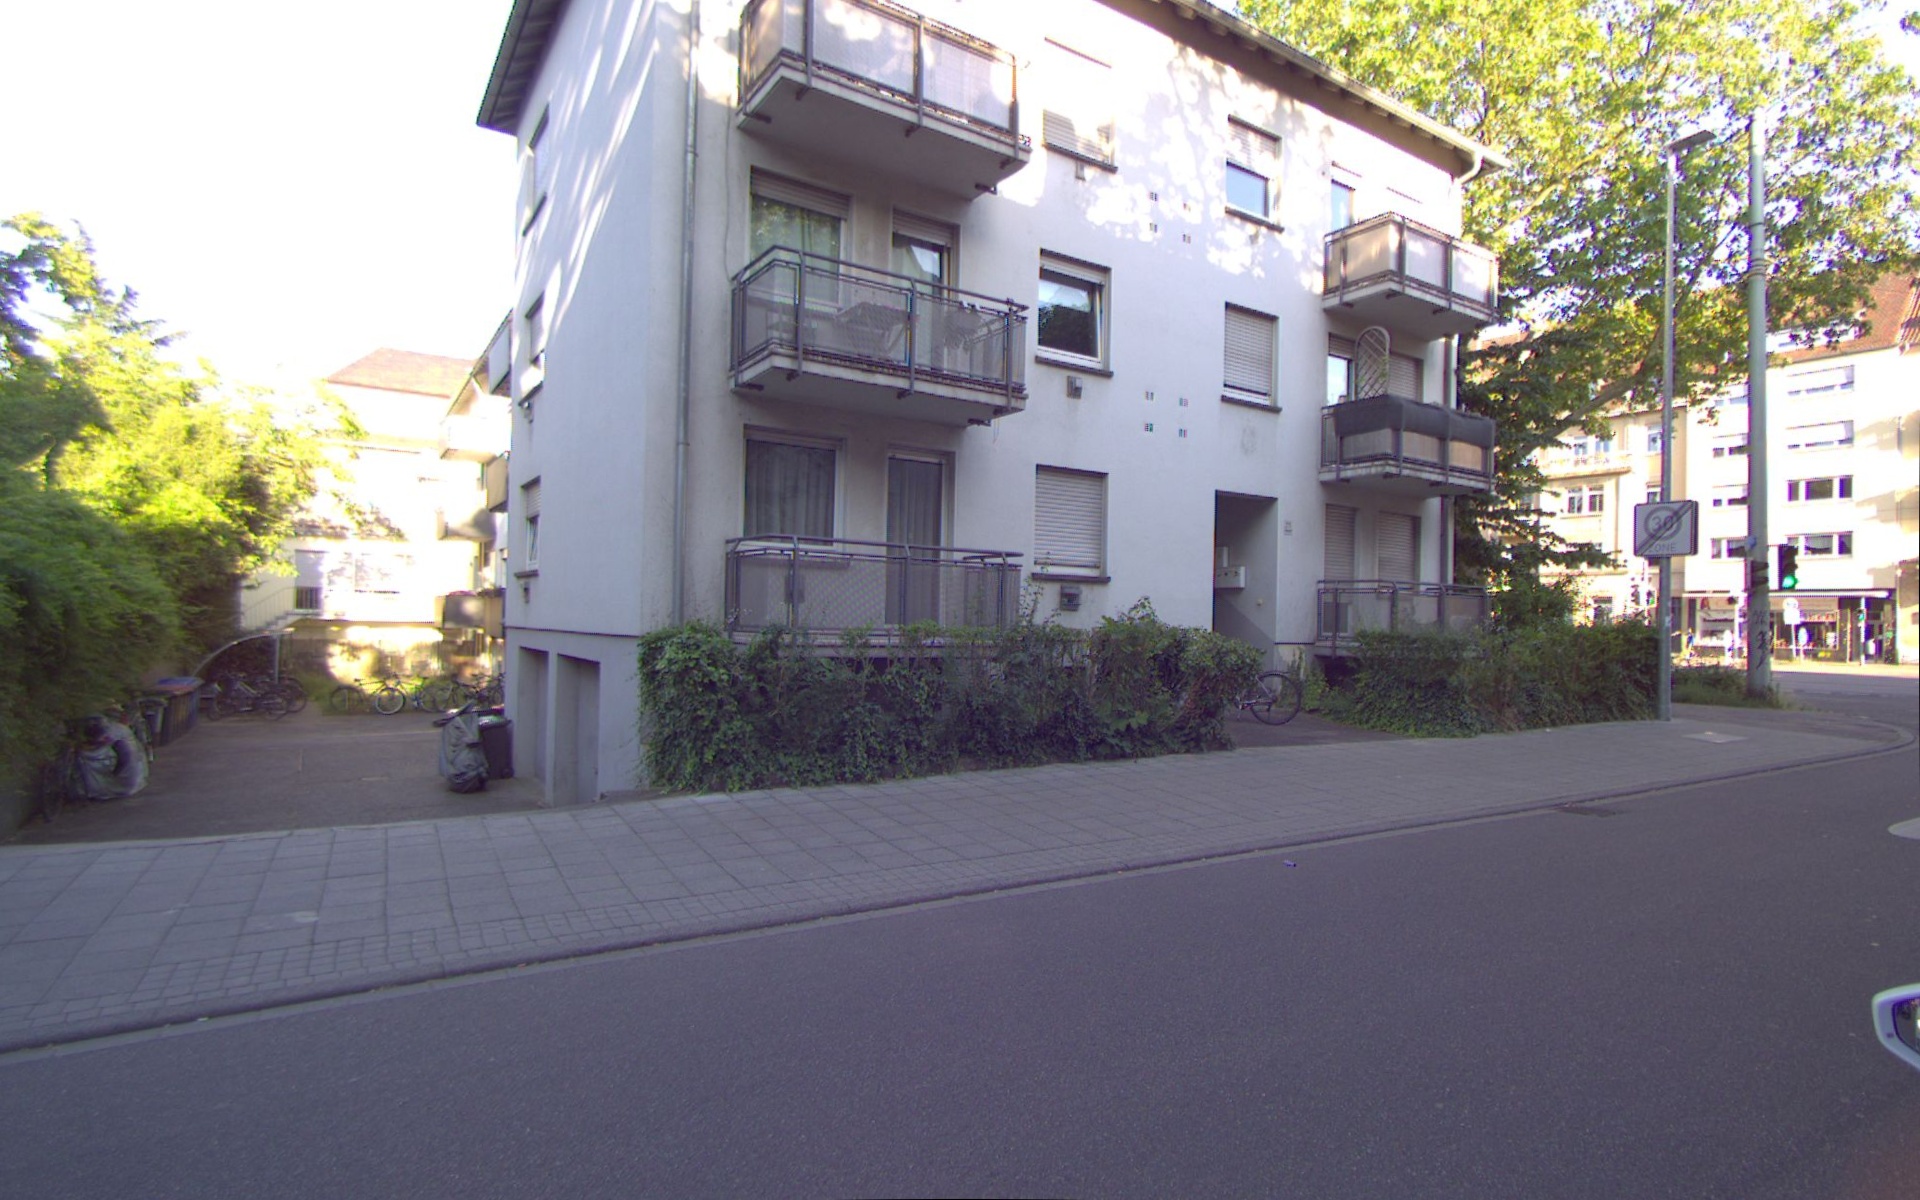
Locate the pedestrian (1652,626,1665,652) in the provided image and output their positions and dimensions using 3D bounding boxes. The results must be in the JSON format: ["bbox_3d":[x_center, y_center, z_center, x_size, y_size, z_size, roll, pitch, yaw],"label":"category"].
[{"bbox_3d":[40.671,2.256,58.453,0.558,1.531,0.499,0,-1,41],"label":"pedestrian"}]

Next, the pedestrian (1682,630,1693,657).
[{"bbox_3d":[41.819,2.468,57.707,0.502,1.531,0.535,0,-1,37],"label":"pedestrian"}]

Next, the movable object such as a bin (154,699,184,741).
[{"bbox_3d":[-15.656,2.370,19.889,0.393,0.784,0.361,2,-4,-30],"label":"movable object such as a bin"}]

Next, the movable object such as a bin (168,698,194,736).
[{"bbox_3d":[-16.235,2.434,20.940,0.362,0.768,0.361,2,-4,-30],"label":"movable object such as a bin"}]

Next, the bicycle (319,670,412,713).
[{"bbox_3d":[-15.719,2.432,26.608,2.045,1.034,0.637,4,0,-30],"label":"bicycle"}]

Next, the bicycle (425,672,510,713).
[{"bbox_3d":[-13.648,2.571,27.843,2.045,1.034,0.637,4,0,-30],"label":"bicycle"}]

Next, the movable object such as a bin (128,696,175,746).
[{"bbox_3d":[-14.976,2.234,18.616,0.570,0.891,0.491,2,-4,-30],"label":"movable object such as a bin"}]

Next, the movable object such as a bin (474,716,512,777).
[{"bbox_3d":[-7.526,2.346,16.178,0.428,0.899,0.720,1,-2,-34],"label":"movable object such as a bin"}]

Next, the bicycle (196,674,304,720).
[{"bbox_3d":[-17.302,2.374,24.545,2.045,1.034,0.637,4,0,-30],"label":"bicycle"}]

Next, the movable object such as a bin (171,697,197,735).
[{"bbox_3d":[-16.428,2.448,21.280,0.362,0.768,0.361,2,-4,-30],"label":"movable object such as a bin"}]

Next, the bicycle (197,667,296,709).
[{"bbox_3d":[-18.886,2.335,26.650,2.045,1.034,0.611,4,0,-30],"label":"bicycle"}]

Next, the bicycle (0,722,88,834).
[{"bbox_3d":[-11.035,2.086,12.054,0.509,1.033,1.922,3,-1,-32],"label":"bicycle"}]

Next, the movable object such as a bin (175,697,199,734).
[{"bbox_3d":[-16.633,2.480,21.624,0.342,0.768,0.361,2,-4,-30],"label":"movable object such as a bin"}]

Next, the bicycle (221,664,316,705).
[{"bbox_3d":[-19.020,2.336,27.687,2.045,1.034,0.611,4,0,-30],"label":"bicycle"}]

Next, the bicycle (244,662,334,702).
[{"bbox_3d":[-19.044,2.339,28.559,2.045,1.034,0.564,4,0,-30],"label":"bicycle"}]

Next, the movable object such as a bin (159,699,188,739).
[{"bbox_3d":[-15.850,2.393,20.248,0.377,0.784,0.361,2,-4,-30],"label":"movable object such as a bin"}]

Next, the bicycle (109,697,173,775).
[{"bbox_3d":[-13.247,2.172,16.288,0.509,1.033,1.922,3,-1,-32],"label":"bicycle"}]

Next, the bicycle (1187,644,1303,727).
[{"bbox_3d":[3.858,1.145,13.609,1.433,0.988,0.407,3,0,21],"label":"bicycle"}]

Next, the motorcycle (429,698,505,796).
[{"bbox_3d":[-7.400,2.161,15.037,0.751,1.268,1.577,1,-2,-36],"label":"motorcycle"}]

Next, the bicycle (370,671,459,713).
[{"bbox_3d":[-14.752,2.498,27.196,2.045,1.034,0.637,4,0,-30],"label":"bicycle"}]

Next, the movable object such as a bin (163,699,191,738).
[{"bbox_3d":[-16.048,2.417,20.590,0.371,0.768,0.361,2,-4,-30],"label":"movable object such as a bin"}]

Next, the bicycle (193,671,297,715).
[{"bbox_3d":[-18.053,2.355,25.424,2.045,1.034,0.568,4,0,-30],"label":"bicycle"}]

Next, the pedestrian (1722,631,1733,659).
[{"bbox_3d":[42.749,2.483,55.954,0.467,1.531,0.429,0,-1,41],"label":"pedestrian"}]
